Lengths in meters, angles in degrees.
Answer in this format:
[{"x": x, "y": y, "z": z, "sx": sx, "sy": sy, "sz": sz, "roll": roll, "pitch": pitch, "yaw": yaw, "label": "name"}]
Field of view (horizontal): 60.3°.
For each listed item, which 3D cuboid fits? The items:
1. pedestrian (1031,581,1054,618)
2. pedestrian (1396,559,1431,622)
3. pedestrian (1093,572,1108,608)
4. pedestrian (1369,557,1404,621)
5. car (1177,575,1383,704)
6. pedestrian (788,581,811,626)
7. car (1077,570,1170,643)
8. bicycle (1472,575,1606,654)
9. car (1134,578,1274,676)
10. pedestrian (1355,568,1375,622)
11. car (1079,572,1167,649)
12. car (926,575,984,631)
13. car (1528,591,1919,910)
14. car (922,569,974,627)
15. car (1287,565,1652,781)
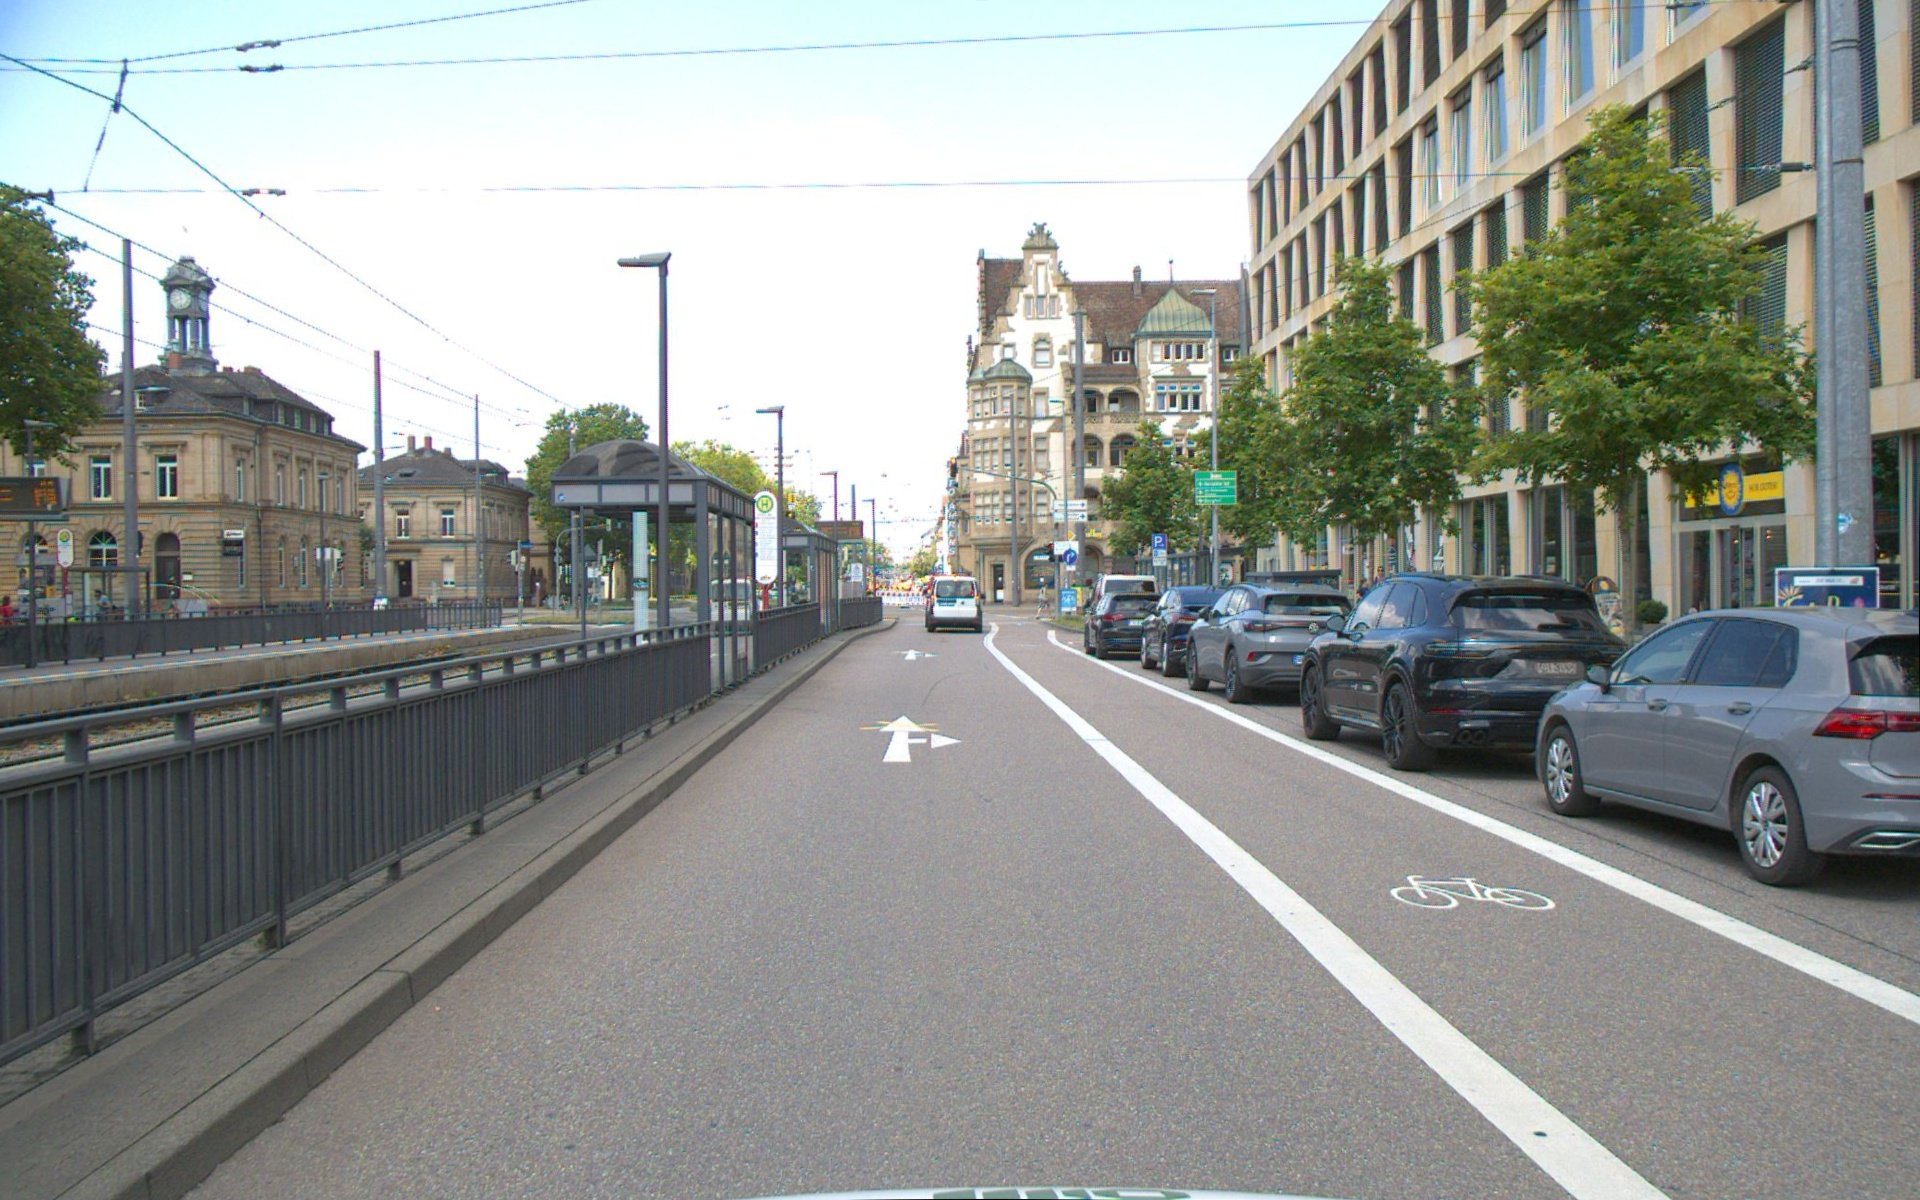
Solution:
[{"x": 3.615, "y": -0.026, "z": 72.779, "sx": 0.793, "sy": 1.599, "sz": 0.626, "roll": -3, "pitch": 1, "yaw": -18, "label": "pedestrian"}, {"x": 12.569, "y": -0.264, "z": 45.877, "sx": 0.745, "sy": 1.699, "sz": 0.659, "roll": -1, "pitch": 1, "yaw": -2, "label": "pedestrian"}, {"x": 6.327, "y": -0.438, "z": 74.526, "sx": 0.523, "sy": 1.599, "sz": 0.542, "roll": -3, "pitch": 1, "yaw": -3, "label": "pedestrian"}, {"x": 11.816, "y": -0.301, "z": 45.847, "sx": 0.745, "sy": 1.753, "sz": 0.659, "roll": -1, "pitch": 1, "yaw": -2, "label": "pedestrian"}, {"x": 4.451, "y": 0.481, "z": 23.754, "sx": 1.771, "sy": 1.619, "sz": 4.838, "roll": 1, "pitch": 1, "yaw": -3, "label": "car"}, {"x": -4.304, "y": 0.092, "z": 44.396, "sx": 0.503, "sy": 1.160, "sz": 0.501, "roll": -3, "pitch": 1, "yaw": -1, "label": "pedestrian"}, {"x": 3.557, "y": 0.106, "z": 36.521, "sx": 1.414, "sy": 1.495, "sz": 4.090, "roll": 1, "pitch": 1, "yaw": -3, "label": "car"}, {"x": 8.393, "y": 0.206, "z": 23.992, "sx": 1.802, "sy": 1.048, "sz": 0.339, "roll": -3, "pitch": 1, "yaw": -3, "label": "bicycle"}, {"x": 4.395, "y": 0.434, "z": 30.350, "sx": 1.770, "sy": 1.619, "sz": 4.304, "roll": 1, "pitch": 1, "yaw": -2, "label": "car"}, {"x": 11.222, "y": -0.147, "z": 45.816, "sx": 0.430, "sy": 1.474, "sz": 0.434, "roll": -1, "pitch": 1, "yaw": -2, "label": "pedestrian"}, {"x": 4.041, "y": 0.218, "z": 41.368, "sx": 1.675, "sy": 1.828, "sz": 3.360, "roll": 1, "pitch": 1, "yaw": -3, "label": "car"}, {"x": -0.208, "y": 0.077, "z": 55.009, "sx": 1.831, "sy": 1.777, "sz": 3.999, "roll": 0, "pitch": 1, "yaw": -2, "label": "car"}, {"x": 5.001, "y": 0.711, "z": 9.943, "sx": 1.559, "sy": 1.459, "sz": 4.105, "roll": 1, "pitch": 1, "yaw": -3, "label": "car"}, {"x": -0.480, "y": -0.094, "z": 61.165, "sx": 1.831, "sy": 2.055, "sz": 3.999, "roll": 0, "pitch": 1, "yaw": -2, "label": "car"}, {"x": 4.534, "y": 0.538, "z": 15.565, "sx": 1.703, "sy": 1.698, "sz": 4.838, "roll": 1, "pitch": 1, "yaw": -3, "label": "car"}]
